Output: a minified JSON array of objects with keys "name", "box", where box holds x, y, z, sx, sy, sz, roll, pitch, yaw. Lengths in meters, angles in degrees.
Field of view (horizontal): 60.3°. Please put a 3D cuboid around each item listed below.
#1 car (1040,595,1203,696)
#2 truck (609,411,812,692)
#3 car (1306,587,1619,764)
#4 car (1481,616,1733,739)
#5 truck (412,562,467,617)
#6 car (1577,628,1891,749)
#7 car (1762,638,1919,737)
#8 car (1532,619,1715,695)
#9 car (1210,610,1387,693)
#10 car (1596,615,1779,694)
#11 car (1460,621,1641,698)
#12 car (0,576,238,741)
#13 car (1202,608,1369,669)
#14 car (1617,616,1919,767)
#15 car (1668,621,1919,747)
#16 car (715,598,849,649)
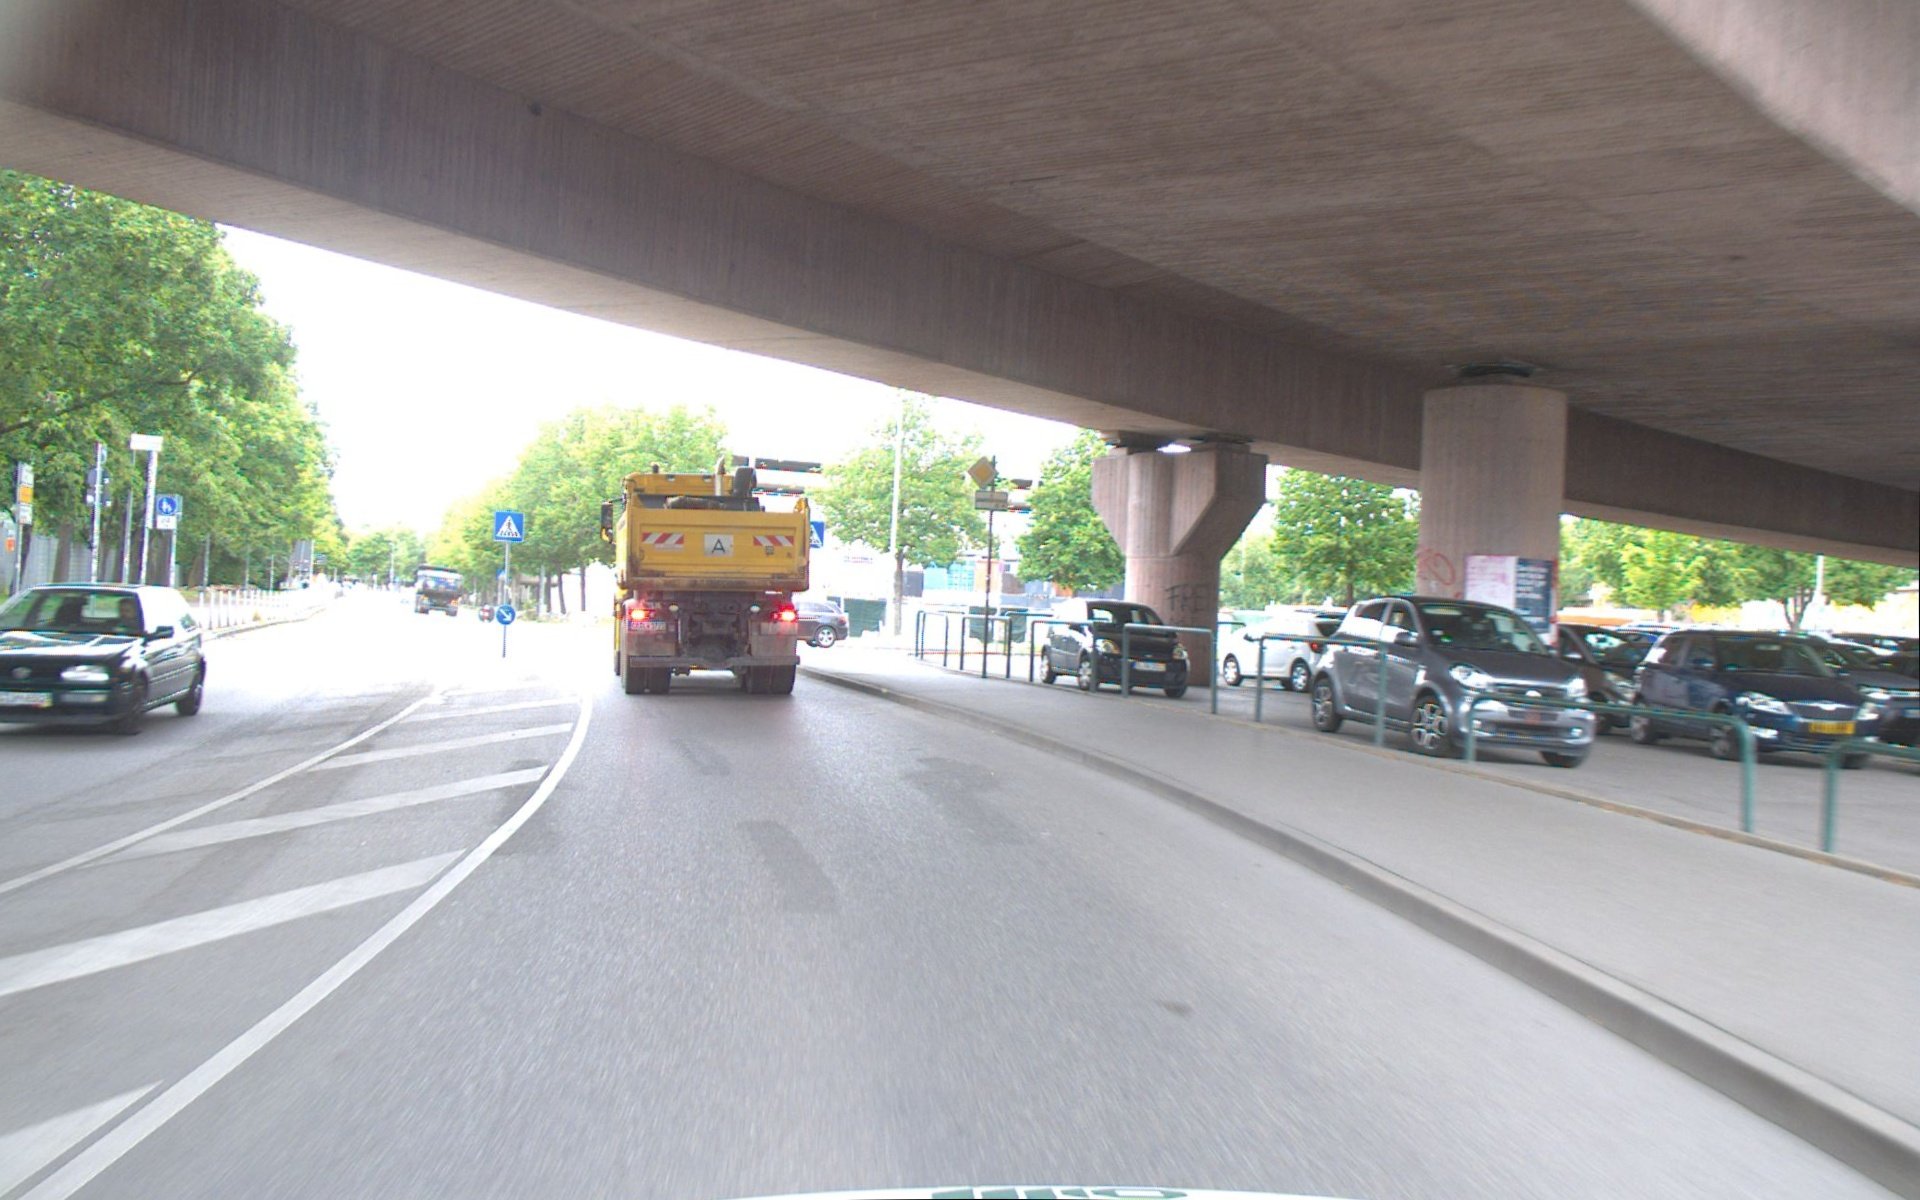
[{"name":"car","box":[2.538,0.688,26.765,1.578,1.421,3.569,4,0,-12]},{"name":"truck","box":[-4.077,-0.625,26.299,2.708,3.763,7.859,0,-1,-11]},{"name":"car","box":[5.034,0.697,17.027,1.578,1.560,3.400,4,0,-12]},{"name":"car","box":[9.399,1.094,24.279,1.504,1.526,3.352,4,-1,-22]},{"name":"truck","box":[-35.532,-0.658,112.835,2.639,3.621,7.861,0,-1,-25]},{"name":"car","box":[11.574,1.276,25.081,1.804,1.495,4.358,3,0,-18]},{"name":"car","box":[15.533,1.440,27.384,1.807,1.452,3.836,2,0,-22]},{"name":"car","box":[15.761,1.333,39.450,1.733,1.582,3.826,2,0,-28]},{"name":"car","box":[7.105,1.057,35.070,1.613,1.579,3.979,2,0,-25]},{"name":"car","box":[17.727,1.307,40.459,1.733,1.723,3.826,2,0,-28]},{"name":"car","box":[13.684,1.357,38.530,1.674,1.582,3.826,2,0,-28]},{"name":"car","box":[-8.780,0.519,16.879,1.646,1.455,3.990,2,0,-10]},{"name":"car","box":[8.554,1.007,43.381,4.179,1.445,1.499,2,2,-25]},{"name":"car","box":[9.555,1.035,19.891,1.749,1.533,3.859,3,-1,1]},{"name":"car","box":[13.408,1.279,26.250,1.807,1.728,3.836,2,0,-22]},{"name":"car","box":[-6.165,0.815,57.159,4.454,1.602,1.841,2,0,-11]}]
